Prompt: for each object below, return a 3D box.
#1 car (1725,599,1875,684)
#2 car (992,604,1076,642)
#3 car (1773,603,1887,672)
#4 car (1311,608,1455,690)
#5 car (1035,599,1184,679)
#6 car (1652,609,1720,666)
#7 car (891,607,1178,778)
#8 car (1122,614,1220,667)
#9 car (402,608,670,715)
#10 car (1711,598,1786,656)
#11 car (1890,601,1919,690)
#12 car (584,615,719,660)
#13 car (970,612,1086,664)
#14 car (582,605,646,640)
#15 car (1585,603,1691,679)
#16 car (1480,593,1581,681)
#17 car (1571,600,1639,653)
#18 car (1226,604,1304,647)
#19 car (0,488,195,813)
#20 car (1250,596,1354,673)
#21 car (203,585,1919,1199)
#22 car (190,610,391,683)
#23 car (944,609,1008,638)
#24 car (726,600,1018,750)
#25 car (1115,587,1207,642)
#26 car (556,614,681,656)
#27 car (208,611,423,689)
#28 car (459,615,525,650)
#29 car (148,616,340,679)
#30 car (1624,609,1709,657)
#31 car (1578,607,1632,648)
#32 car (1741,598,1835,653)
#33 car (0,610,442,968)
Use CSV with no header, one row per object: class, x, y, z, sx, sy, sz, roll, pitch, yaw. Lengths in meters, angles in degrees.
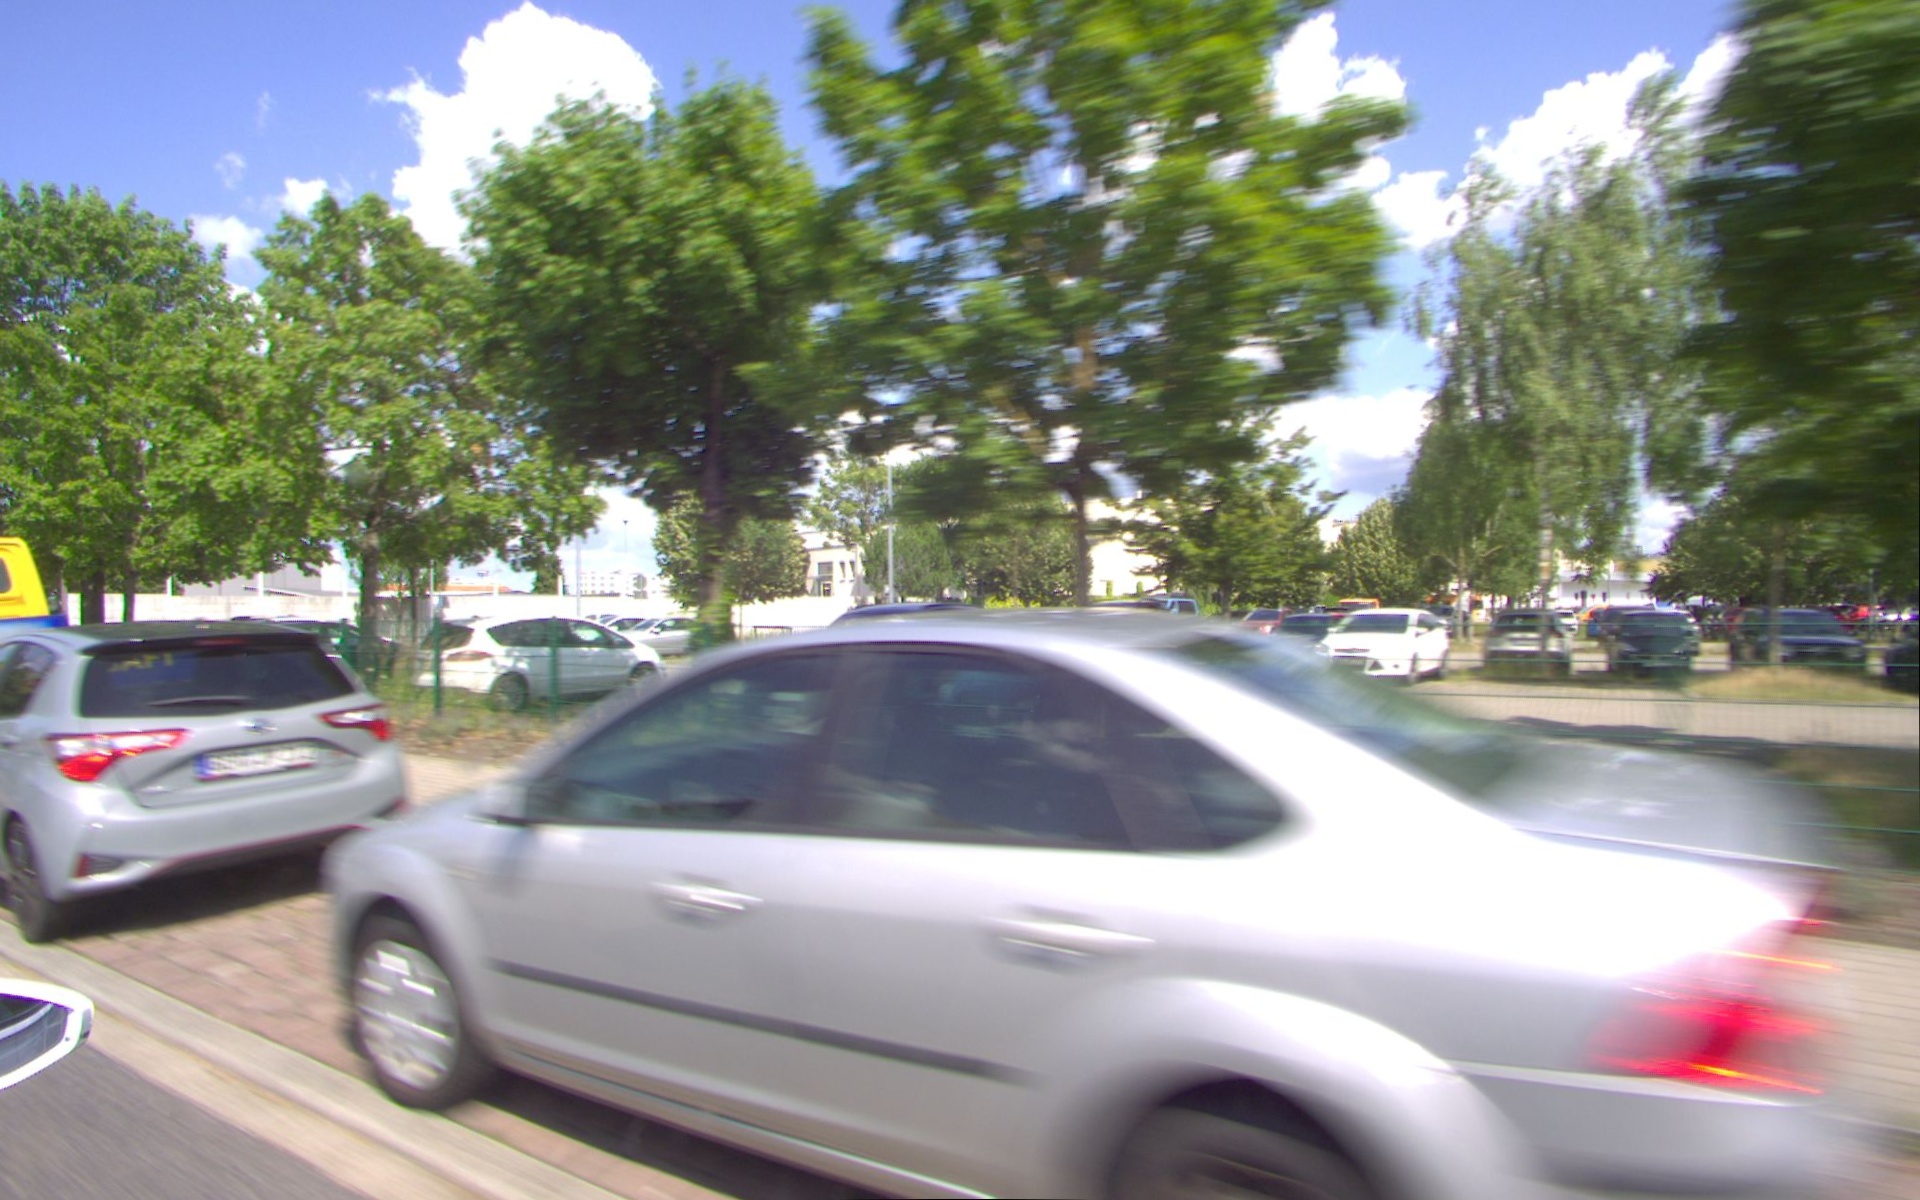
car,18.284,0.871,21.987,1.829,1.687,3.982,-1,-1,30
car,3.328,1.064,44.505,1.972,1.576,4.261,-1,-2,32
car,35.569,1.552,41.137,2.711,2.631,5.768,-1,-3,33
car,8.502,0.916,19.928,1.707,1.455,4.146,-1,-1,37
car,3.586,0.866,23.273,1.812,1.662,4.471,-1,-1,32
car,31.363,1.647,43.395,2.037,2.328,5.328,-1,-2,32
car,1.082,0.890,11.651,1.605,1.515,4.318,-1,0,30
car,6.294,1.176,29.646,1.726,1.431,3.745,2,-1,30
car,-7.563,1.016,18.298,1.737,1.643,4.309,-1,0,30
car,34.159,1.216,43.505,2.065,2.387,5.355,-1,-3,33
car,16.075,0.718,15.325,1.776,1.441,3.983,-1,0,29
car,-10.311,1.212,33.609,3.978,1.414,1.826,0,-1,-44
car,2.297,1.212,32.757,1.972,1.577,4.259,-2,-2,32
car,-16.107,1.064,46.545,1.718,1.569,3.973,0,-1,-36
car,16.372,0.957,24.351,1.829,1.687,3.982,-1,-1,30
car,13.933,0.866,24.476,1.969,1.960,4.076,-1,-1,30
car,23.674,0.994,36.772,1.972,1.824,3.979,-1,-3,33
car,11.694,1.009,38.257,1.864,1.576,3.980,-1,-3,33
car,-9.922,0.461,9.774,6.555,2.497,2.149,-2,0,37
car,9.566,0.929,27.824,1.969,1.960,4.076,-1,-1,30
car,-0.182,0.773,3.139,4.586,1.512,1.829,-1,1,30
car,-16.708,1.108,25.123,1.889,1.658,3.854,-2,-1,42
car,0.903,1.425,59.376,1.886,1.613,3.862,1,-3,-35
car,-0.990,0.947,13.639,1.829,1.692,4.322,-1,-3,30
car,8.311,0.671,41.080,2.081,2.130,4.918,-1,-3,33
car,-12.141,1.207,35.712,3.730,1.414,1.993,0,-1,-45
car,-14.886,1.105,23.267,1.889,1.614,3.854,-2,-1,42
car,-21.011,1.473,44.899,1.975,1.487,4.240,2,-3,-35
car,-20.509,1.321,28.808,1.889,1.614,4.186,-2,-1,42
car,22.218,1.015,31.614,1.872,1.392,3.981,-1,-1,31
car,29.521,1.303,45.815,1.972,1.792,3.979,-1,-3,33
car,28.571,0.922,34.673,1.972,1.792,3.981,-1,-3,32
car,-5.047,0.868,6.149,3.896,1.514,1.680,-1,0,35
